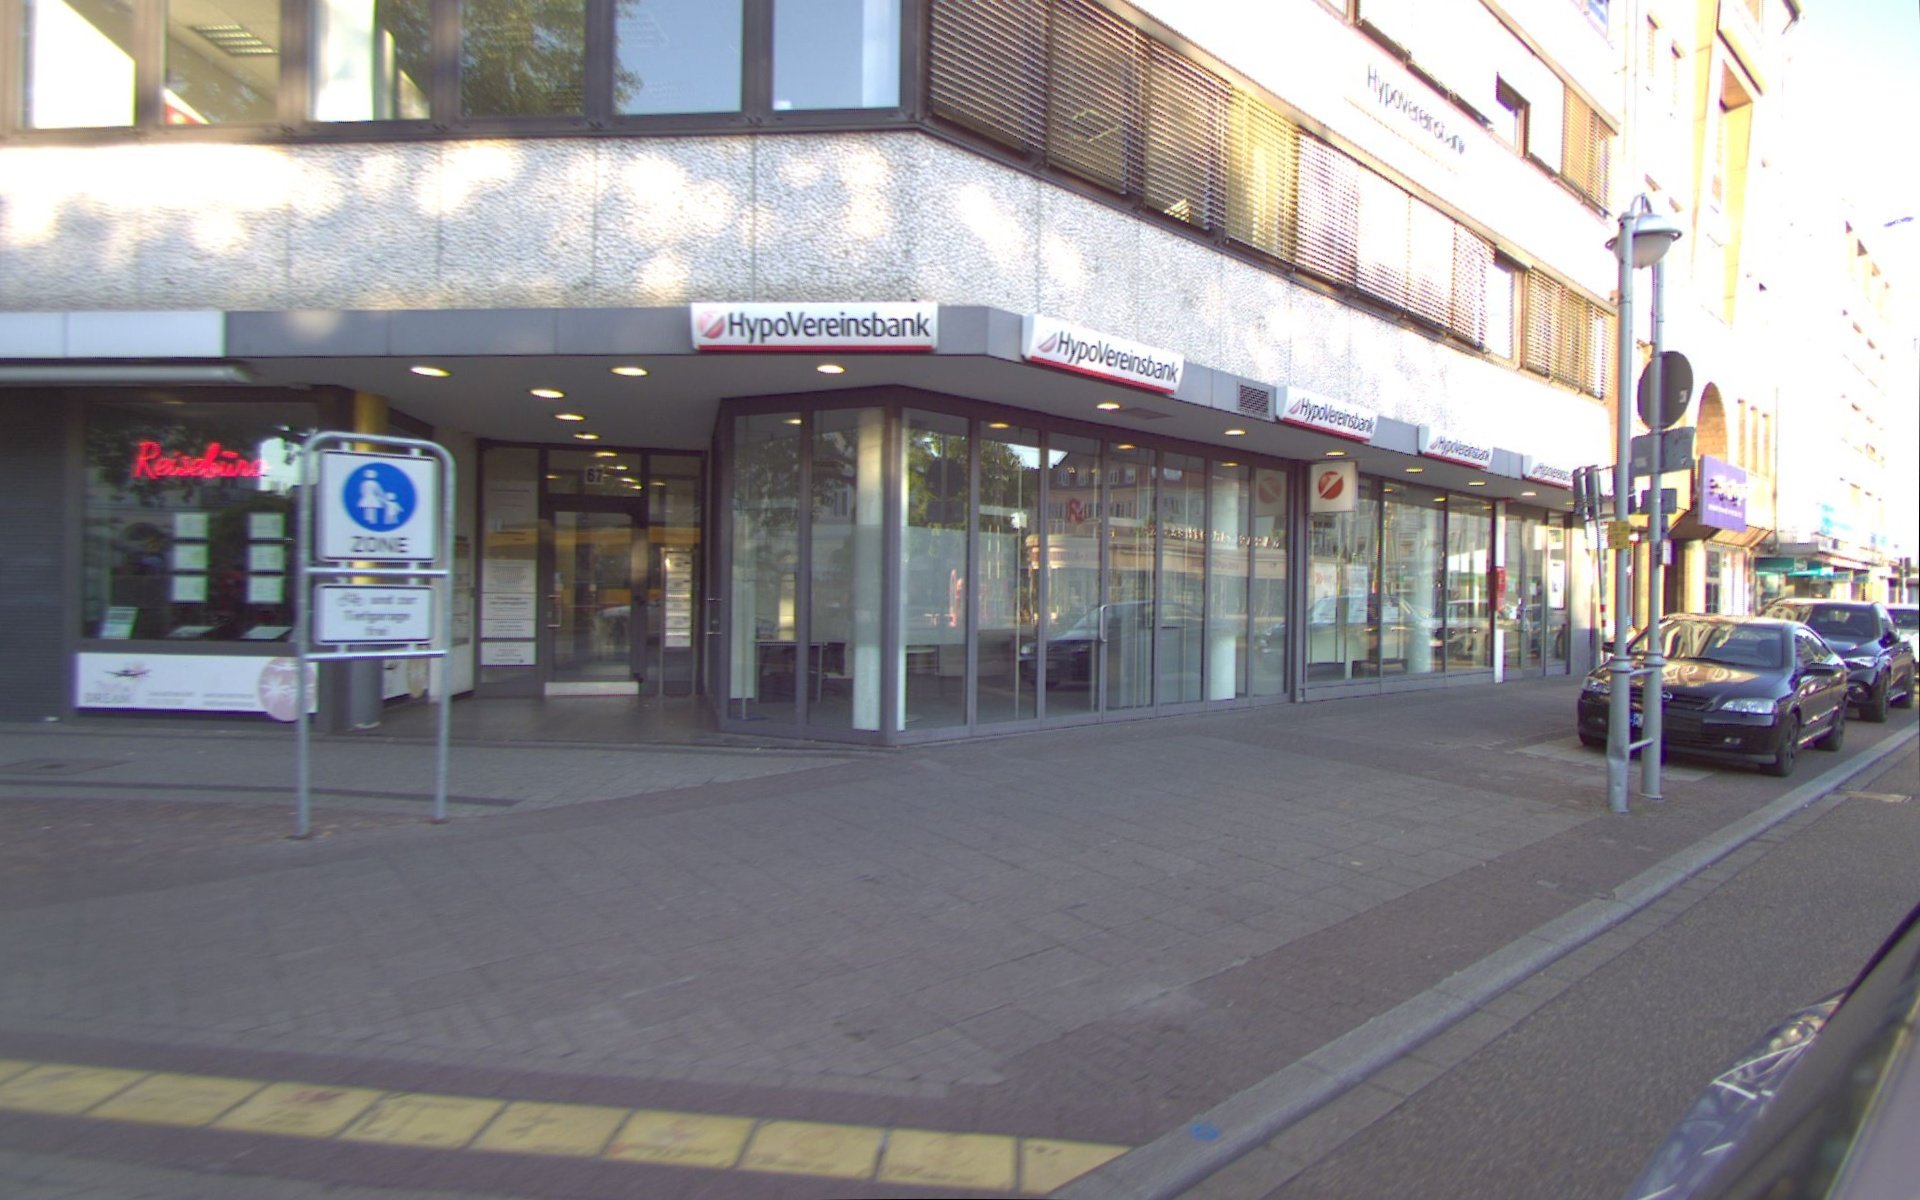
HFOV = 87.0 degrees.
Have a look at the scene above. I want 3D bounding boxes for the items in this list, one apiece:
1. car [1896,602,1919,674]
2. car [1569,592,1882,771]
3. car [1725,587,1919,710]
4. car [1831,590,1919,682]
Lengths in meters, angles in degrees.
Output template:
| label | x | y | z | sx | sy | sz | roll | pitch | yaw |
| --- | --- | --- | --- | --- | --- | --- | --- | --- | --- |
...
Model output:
| label | x | y | z | sx | sy | sz | roll | pitch | yaw |
| --- | --- | --- | --- | --- | --- | --- | --- | --- | --- |
| car | 23.191 | 0.861 | 23.392 | 4.752 | 1.571 | 1.812 | 1 | 0 | -41 |
| car | 8.105 | 0.699 | 10.569 | 4.264 | 1.397 | 1.659 | 1 | 4 | -41 |
| car | 13.101 | 0.687 | 15.114 | 4.497 | 1.558 | 1.779 | 2 | -1 | -41 |
| car | 18.520 | 0.649 | 19.549 | 4.638 | 1.606 | 1.820 | 1 | 0 | -40 |
